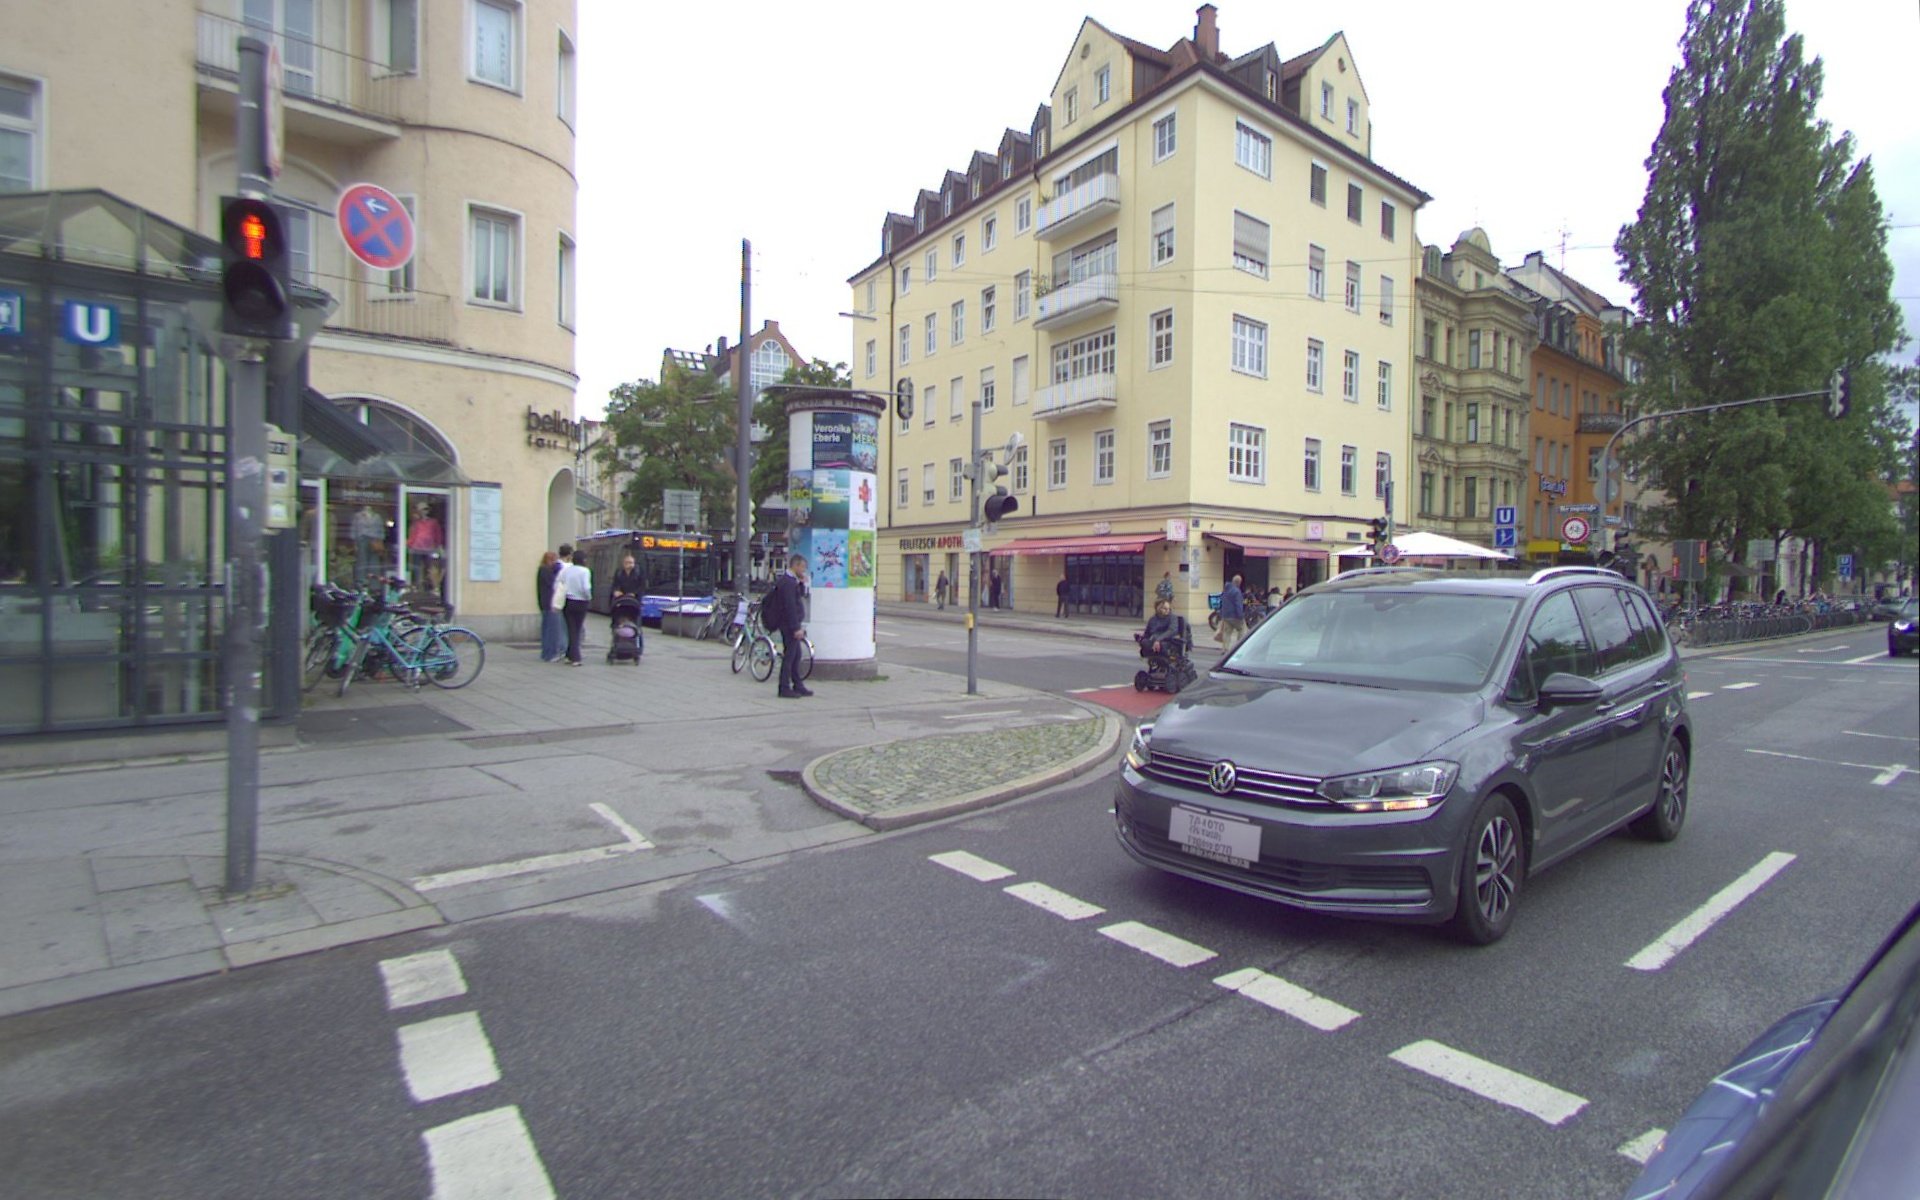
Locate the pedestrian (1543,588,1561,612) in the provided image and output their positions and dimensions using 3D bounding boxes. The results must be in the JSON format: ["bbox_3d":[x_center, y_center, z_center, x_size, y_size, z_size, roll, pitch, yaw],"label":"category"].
[{"bbox_3d":[30.854,-0.015,52.731,0.573,1.233,0.623,0,1,-41],"label":"pedestrian"}]

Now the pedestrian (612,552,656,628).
[{"bbox_3d":[-7.587,-0.237,23.532,0.732,1.706,0.683,4,-1,-31],"label":"pedestrian"}]

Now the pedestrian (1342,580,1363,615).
[{"bbox_3d":[15.083,-0.091,38.932,0.542,1.305,0.542,0,1,-40],"label":"pedestrian"}]

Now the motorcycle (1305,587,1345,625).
[{"bbox_3d":[11.508,0.178,31.906,1.543,1.171,0.487,0,1,-40],"label":"motorcycle"}]

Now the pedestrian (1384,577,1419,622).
[{"bbox_3d":[13.392,-0.012,30.663,0.782,1.327,0.679,0,1,-40],"label":"pedestrian"}]

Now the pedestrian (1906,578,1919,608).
[{"bbox_3d":[58.748,-0.429,62.075,0.741,1.824,0.883,1,0,-30],"label":"pedestrian"}]

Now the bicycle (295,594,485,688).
[{"bbox_3d":[-6.513,0.435,11.630,1.833,0.987,0.495,0,2,-41],"label":"bicycle"}]

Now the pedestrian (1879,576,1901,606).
[{"bbox_3d":[56.765,-0.522,61.782,0.638,1.803,0.702,1,0,-7],"label":"pedestrian"}]

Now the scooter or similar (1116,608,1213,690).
[{"bbox_3d":[2.941,0.675,14.512,1.235,1.088,0.776,0,2,-42],"label":"scooter or similar"}]

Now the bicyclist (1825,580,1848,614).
[{"bbox_3d":[42.754,-0.139,49.348,0.923,1.623,0.681,0,1,-41],"label":"bicyclist"}]

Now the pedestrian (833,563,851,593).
[{"bbox_3d":[-6.663,-1.228,57.323,0.752,1.663,0.761,0,1,-30],"label":"pedestrian"}]

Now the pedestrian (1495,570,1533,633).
[{"bbox_3d":[15.994,0.022,29.223,0.878,1.764,0.848,2,1,33],"label":"pedestrian"}]

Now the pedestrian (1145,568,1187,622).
[{"bbox_3d":[6.606,-0.174,32.440,0.822,1.704,1.041,0,1,-30],"label":"pedestrian"}]

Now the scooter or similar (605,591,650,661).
[{"bbox_3d":[-5.072,0.386,15.449,0.581,1.007,0.824,4,0,-18],"label":"scooter or similar"}]

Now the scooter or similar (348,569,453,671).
[{"bbox_3d":[-7.112,0.234,12.889,0.287,1.242,1.138,2,1,40],"label":"scooter or similar"}]

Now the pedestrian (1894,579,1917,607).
[{"bbox_3d":[57.671,-0.432,61.724,0.743,1.658,0.700,1,0,6],"label":"pedestrian"}]

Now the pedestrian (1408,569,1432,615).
[{"bbox_3d":[17.626,-0.312,38.796,0.654,1.761,0.601,0,1,-40],"label":"pedestrian"}]

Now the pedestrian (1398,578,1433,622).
[{"bbox_3d":[14.055,0.006,31.231,0.782,1.327,0.679,0,1,-40],"label":"pedestrian"}]

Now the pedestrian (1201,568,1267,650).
[{"bbox_3d":[6.085,0.183,22.511,1.045,1.777,0.936,0,1,-37],"label":"pedestrian"}]

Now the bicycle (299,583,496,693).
[{"bbox_3d":[-6.205,0.390,11.230,1.833,1.121,0.567,0,2,-41],"label":"bicycle"}]

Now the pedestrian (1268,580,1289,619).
[{"bbox_3d":[10.831,-0.030,34.416,0.518,1.315,0.479,0,1,-42],"label":"pedestrian"}]

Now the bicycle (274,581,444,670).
[{"bbox_3d":[-7.768,0.301,13.151,0.494,1.072,1.836,2,2,45],"label":"bicycle"}]

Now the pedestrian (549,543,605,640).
[{"bbox_3d":[-7.164,-0.159,18.955,0.732,1.727,0.683,4,-1,-5],"label":"pedestrian"}]

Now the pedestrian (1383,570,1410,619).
[{"bbox_3d":[15.060,-0.207,34.930,0.666,1.653,0.616,0,1,-40],"label":"pedestrian"}]

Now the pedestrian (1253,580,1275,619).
[{"bbox_3d":[10.447,-0.021,34.786,0.518,1.315,0.479,0,1,-42],"label":"pedestrian"}]

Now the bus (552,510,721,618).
[{"bbox_3d":[-11.606,-1.237,34.935,2.759,3.004,13.623,2,1,-30],"label":"bus"}]

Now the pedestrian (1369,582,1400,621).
[{"bbox_3d":[13.402,0.046,31.959,0.688,1.218,0.627,0,1,-40],"label":"pedestrian"}]

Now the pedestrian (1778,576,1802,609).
[{"bbox_3d":[41.147,-0.365,50.161,0.749,1.582,0.762,1,0,-39],"label":"pedestrian"}]

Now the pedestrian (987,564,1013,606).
[{"bbox_3d":[1.623,-0.621,41.526,0.690,1.704,0.854,0,1,-30],"label":"pedestrian"}]

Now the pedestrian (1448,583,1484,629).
[{"bbox_3d":[14.969,0.176,29.962,0.782,1.327,0.679,0,1,-40],"label":"pedestrian"}]

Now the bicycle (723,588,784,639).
[{"bbox_3d":[-4.599,0.289,22.528,1.574,1.046,0.353,2,2,36],"label":"bicycle"}]

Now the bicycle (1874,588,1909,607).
[{"bbox_3d":[56.751,-0.177,61.646,0.352,1.116,1.747,1,2,-6],"label":"bicycle"}]

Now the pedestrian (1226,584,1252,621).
[{"bbox_3d":[9.252,0.074,33.550,0.691,1.196,0.515,0,1,-42],"label":"pedestrian"}]

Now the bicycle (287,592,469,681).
[{"bbox_3d":[-6.949,0.404,12.151,1.833,0.987,0.495,0,2,-41],"label":"bicycle"}]

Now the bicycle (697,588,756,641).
[{"bbox_3d":[-4.978,0.291,21.524,1.574,1.046,0.245,2,1,36],"label":"bicycle"}]

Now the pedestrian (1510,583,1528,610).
[{"bbox_3d":[27.454,-0.174,49.691,0.573,1.296,0.584,0,1,-41],"label":"pedestrian"}]

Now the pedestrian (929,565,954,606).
[{"bbox_3d":[-0.788,-0.605,42.378,0.752,1.663,0.761,0,1,-30],"label":"pedestrian"}]

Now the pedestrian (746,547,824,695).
[{"bbox_3d":[-2.105,0.237,12.253,0.803,1.712,0.837,1,1,-3],"label":"pedestrian"}]

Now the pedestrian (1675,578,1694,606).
[{"bbox_3d":[45.249,-0.524,63.219,0.999,1.735,0.747,0,1,-41],"label":"pedestrian"}]

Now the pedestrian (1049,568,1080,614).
[{"bbox_3d":[3.704,-0.330,35.803,0.753,1.605,0.760,0,1,-36],"label":"pedestrian"}]

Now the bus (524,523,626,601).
[{"bbox_3d":[-17.308,-1.682,45.035,2.759,3.004,9.598,2,1,-30],"label":"bus"}]

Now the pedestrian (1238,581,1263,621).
[{"bbox_3d":[9.815,0.028,34.184,0.691,1.308,0.515,0,1,-42],"label":"pedestrian"}]

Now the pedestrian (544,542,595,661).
[{"bbox_3d":[-5.719,0.019,14.843,0.550,1.692,0.568,4,-1,-18],"label":"pedestrian"}]

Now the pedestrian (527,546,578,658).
[{"bbox_3d":[-6.175,0.031,15.322,0.556,1.630,0.563,4,-1,-27],"label":"pedestrian"}]

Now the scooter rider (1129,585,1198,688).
[{"bbox_3d":[2.890,0.502,14.402,0.632,1.406,0.702,0,1,-42],"label":"scooter rider"}]

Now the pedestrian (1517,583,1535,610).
[{"bbox_3d":[28.087,-0.177,50.219,0.573,1.296,0.584,0,1,-41],"label":"pedestrian"}]

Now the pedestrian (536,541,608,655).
[{"bbox_3d":[-6.107,-0.033,15.951,0.638,1.727,0.728,4,-1,20],"label":"pedestrian"}]

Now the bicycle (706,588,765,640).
[{"bbox_3d":[-4.842,0.290,21.751,1.574,1.046,0.245,2,1,36],"label":"bicycle"}]

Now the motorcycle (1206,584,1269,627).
[{"bbox_3d":[8.242,0.157,30.041,1.745,1.215,0.538,1,1,20],"label":"motorcycle"}]

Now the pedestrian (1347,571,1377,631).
[{"bbox_3d":[11.848,0.017,29.797,0.752,1.716,0.762,1,1,24],"label":"pedestrian"}]

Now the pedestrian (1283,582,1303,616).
[{"bbox_3d":[11.547,-0.034,35.094,0.518,1.180,0.479,0,1,-42],"label":"pedestrian"}]

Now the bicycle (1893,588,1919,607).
[{"bbox_3d":[57.703,-0.146,61.588,0.353,1.116,1.743,1,2,5],"label":"bicycle"}]

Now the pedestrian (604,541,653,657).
[{"bbox_3d":[-5.285,-0.021,16.153,0.623,1.774,0.652,4,-1,-18],"label":"pedestrian"}]
